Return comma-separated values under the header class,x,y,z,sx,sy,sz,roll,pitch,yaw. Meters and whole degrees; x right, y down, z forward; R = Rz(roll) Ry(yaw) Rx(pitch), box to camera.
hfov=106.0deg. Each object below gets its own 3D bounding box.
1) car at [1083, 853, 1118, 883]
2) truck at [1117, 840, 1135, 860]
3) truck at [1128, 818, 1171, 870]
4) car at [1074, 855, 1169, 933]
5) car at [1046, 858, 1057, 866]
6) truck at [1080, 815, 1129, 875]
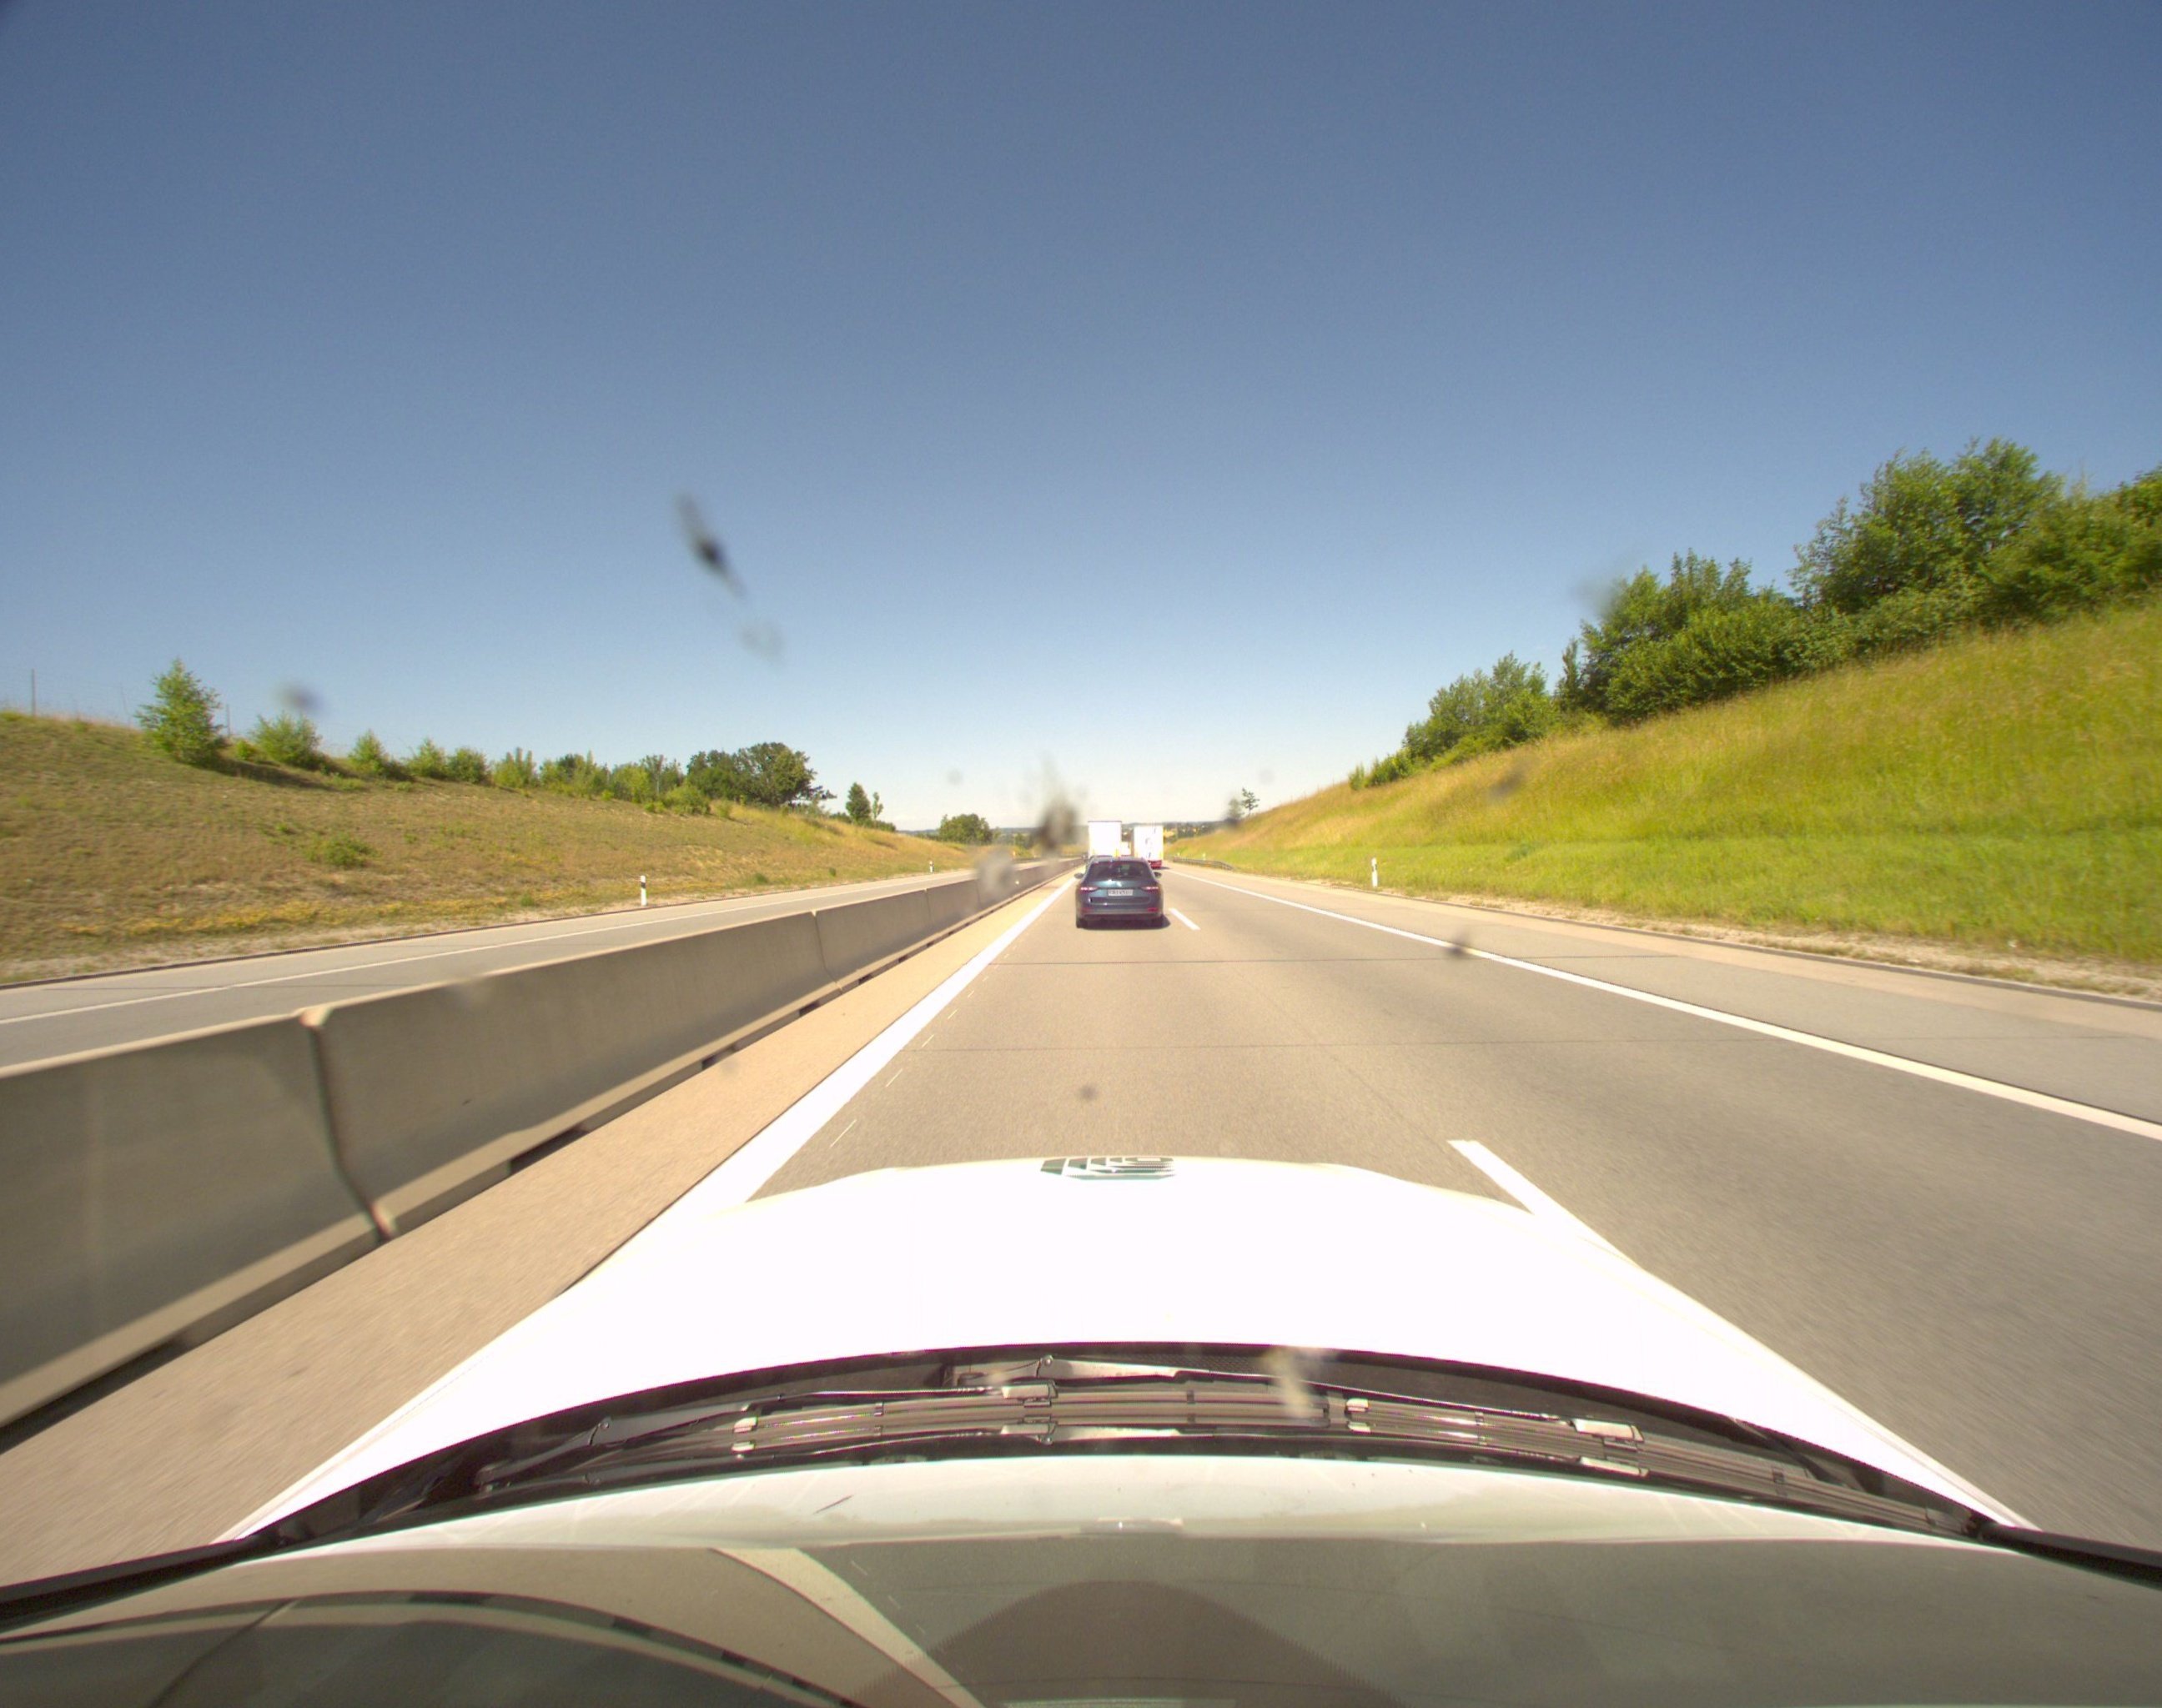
class,x,y,z,sx,sy,sz,roll,pitch,yaw
car,1.022,0.723,43.541,1.694,1.441,4.000,-3,0,1
truck,10.412,-0.951,188.020,3.588,4.381,11.247,-3,0,4
truck,6.537,-0.917,78.117,3.588,4.381,11.247,-3,0,4
car,0.800,0.773,17.572,1.771,1.441,3.789,-2,0,1
car,-5.648,1.612,158.821,1.796,1.471,4.529,-1,0,2
truck,2.140,-0.715,67.921,3.196,4.381,11.248,-3,0,5
